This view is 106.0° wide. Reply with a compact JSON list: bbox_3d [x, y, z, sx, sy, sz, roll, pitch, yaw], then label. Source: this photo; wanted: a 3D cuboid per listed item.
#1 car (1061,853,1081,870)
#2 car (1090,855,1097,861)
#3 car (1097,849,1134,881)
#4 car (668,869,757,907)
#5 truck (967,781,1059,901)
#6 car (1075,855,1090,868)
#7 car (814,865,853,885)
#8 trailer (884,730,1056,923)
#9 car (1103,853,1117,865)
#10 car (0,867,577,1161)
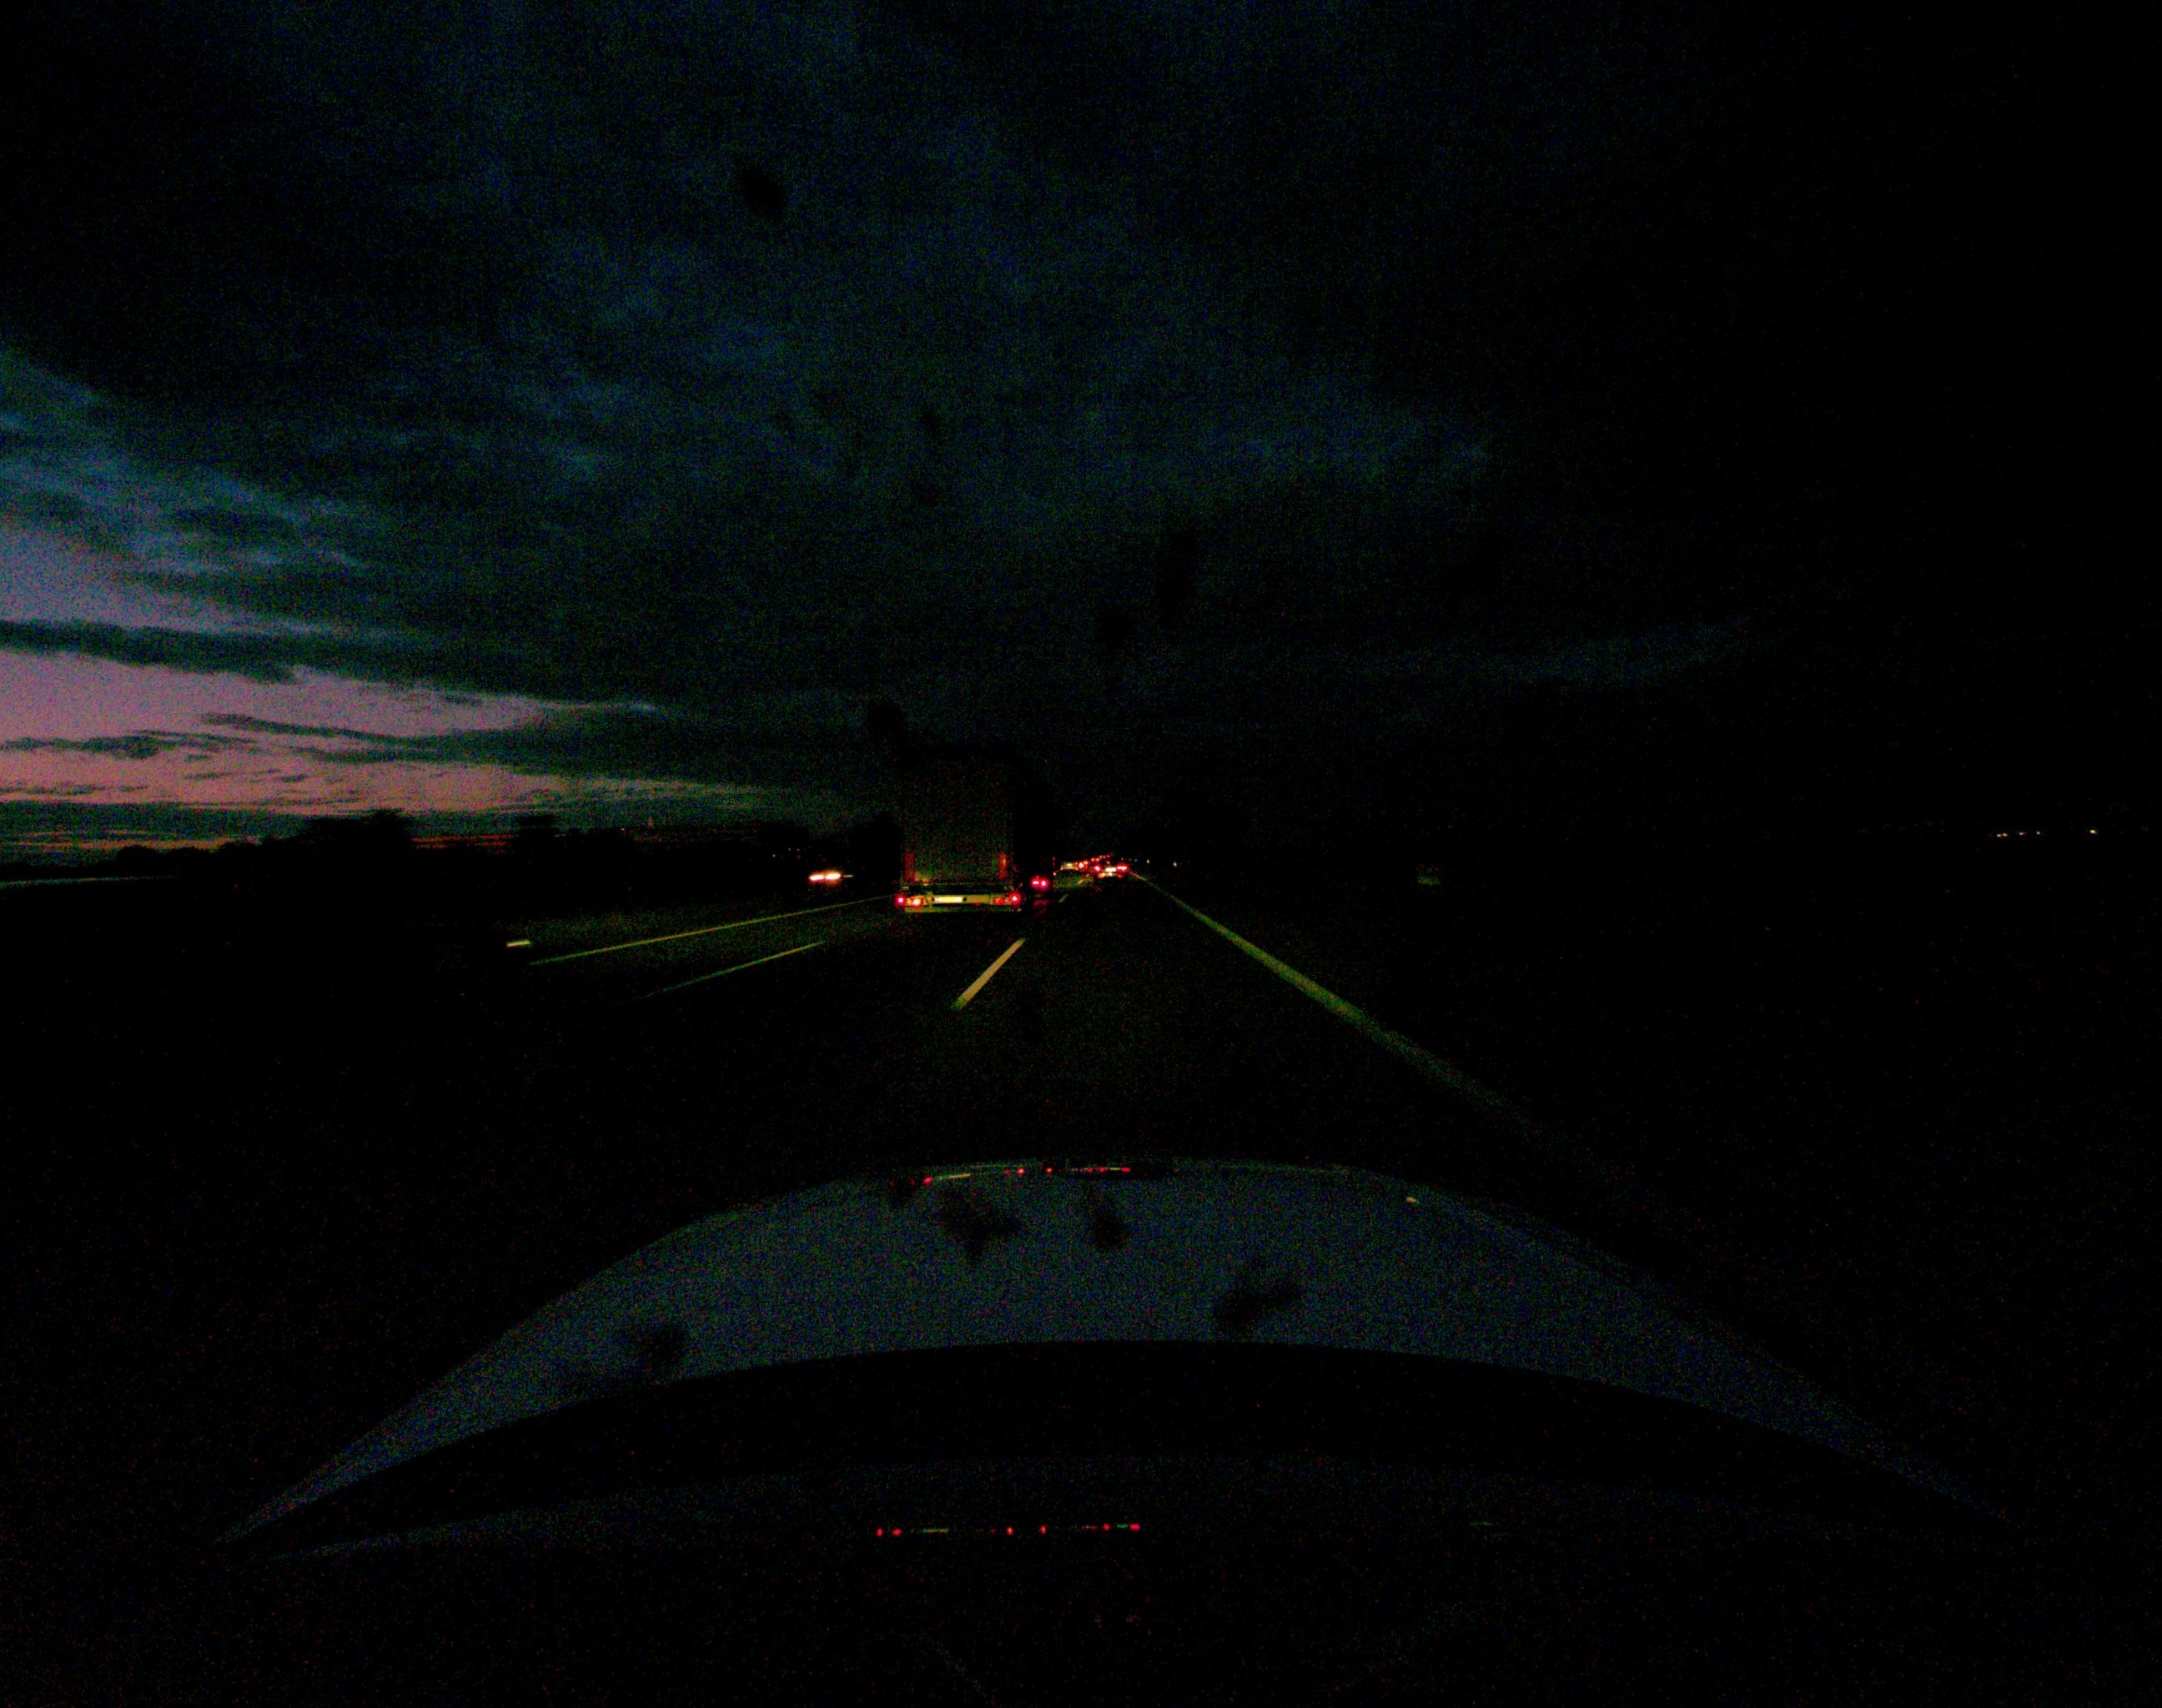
[{"bbox_3d":[-0.942,0.729,78.393,1.737,1.525,4.417,0,-1,2],"label":"car"},{"bbox_3d":[3.309,0.998,220.876,1.873,1.552,4.001,0,-1,1],"label":"car"},{"bbox_3d":[1.857,0.569,43.940,1.873,1.643,4.001,0,-1,2],"label":"car"},{"bbox_3d":[-14.382,1.286,32.028,1.598,1.387,3.903,0,-1,2],"label":"car"},{"bbox_3d":[-2.458,-0.424,31.425,2.767,4.093,6.104,-1,-1,1],"label":"truck"},{"bbox_3d":[0.168,0.938,99.861,1.716,1.471,4.727,0,-1,2],"label":"car"},{"bbox_3d":[-20.503,1.697,67.540,1.737,1.535,4.522,0,-1,2],"label":"car"},{"bbox_3d":[-2.620,-0.520,24.773,2.784,4.085,14.528,-1,-1,1],"label":"trailer"},{"bbox_3d":[3.812,0.698,107.413,1.873,1.552,4.001,0,-1,1],"label":"car"},{"bbox_3d":[-6.430,0.866,6.114,1.807,1.437,5.397,0,0,2],"label":"car"}]
